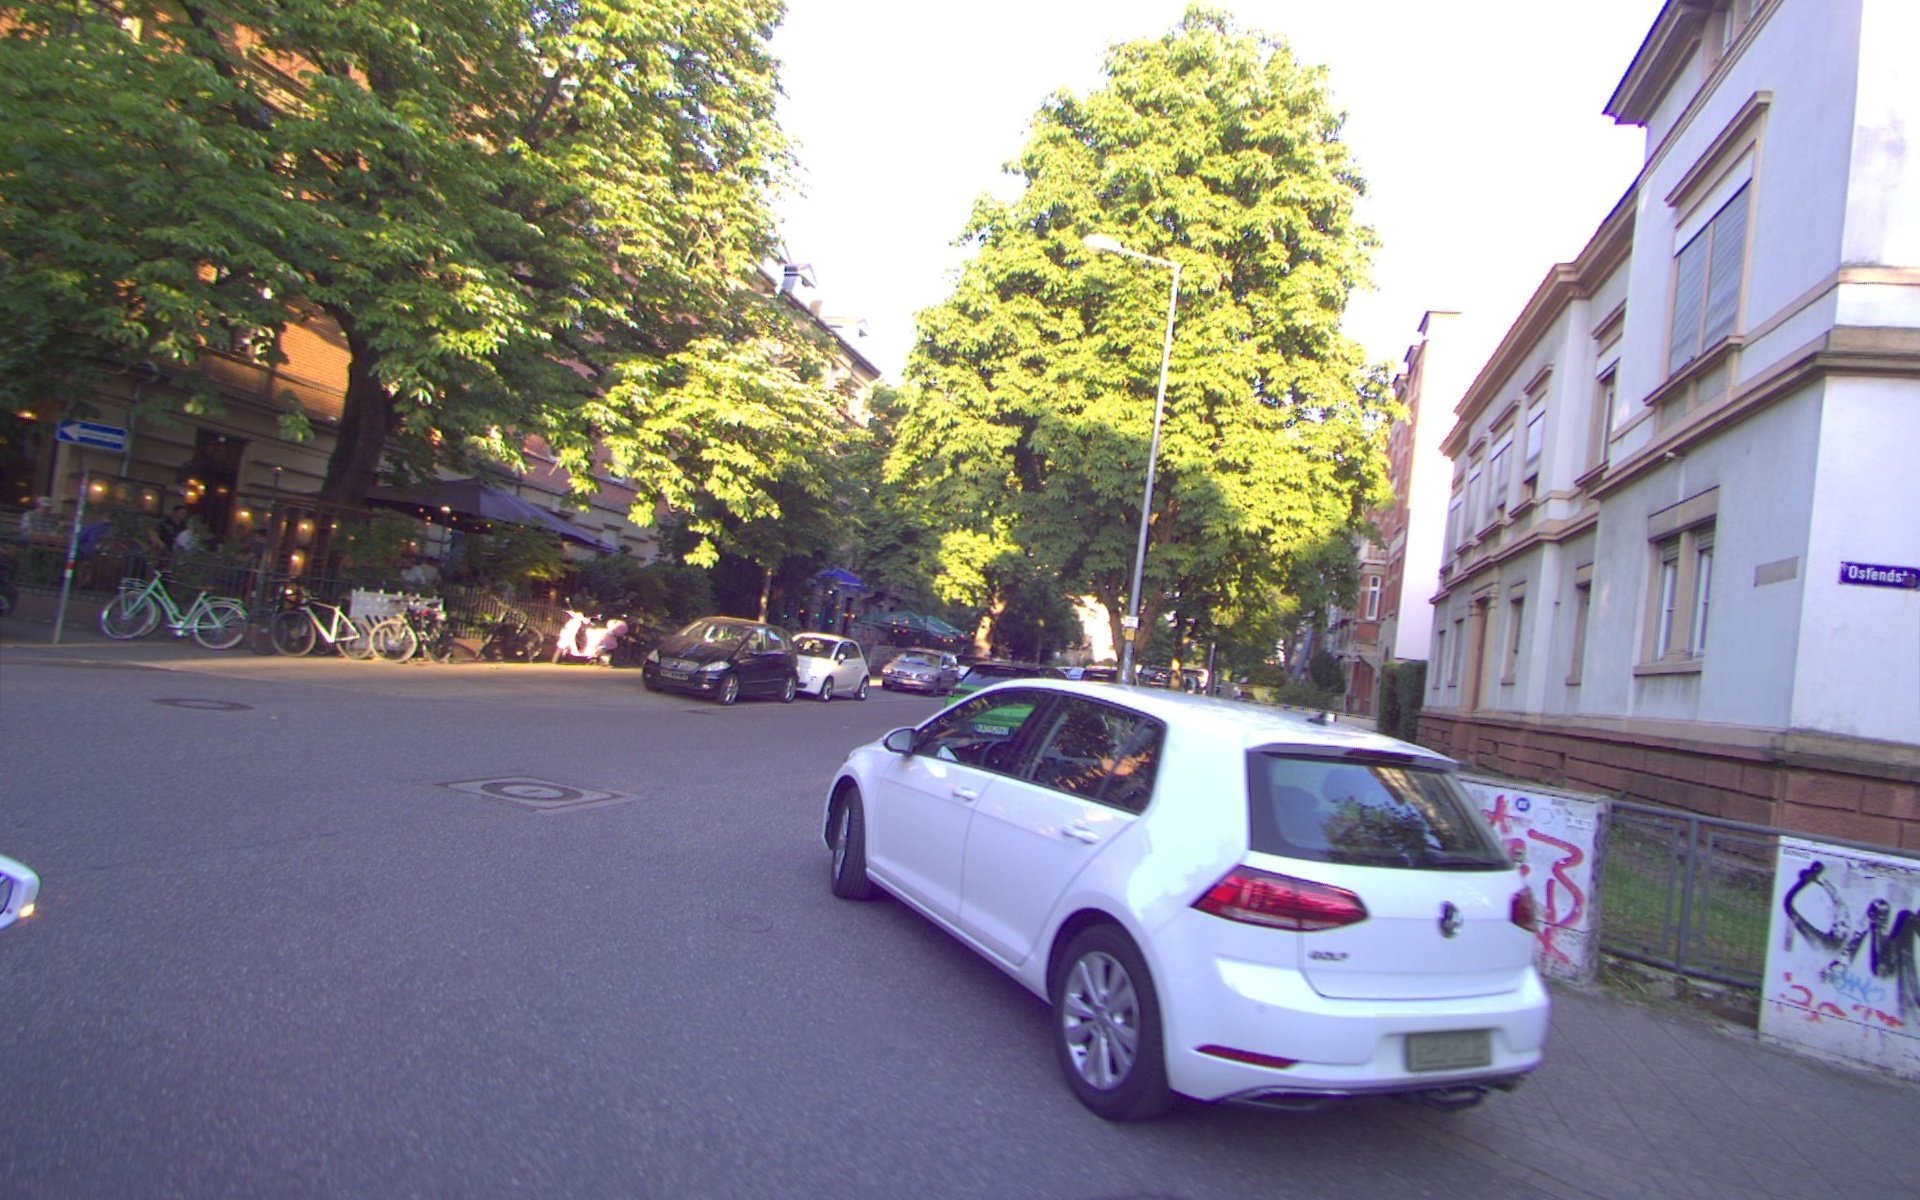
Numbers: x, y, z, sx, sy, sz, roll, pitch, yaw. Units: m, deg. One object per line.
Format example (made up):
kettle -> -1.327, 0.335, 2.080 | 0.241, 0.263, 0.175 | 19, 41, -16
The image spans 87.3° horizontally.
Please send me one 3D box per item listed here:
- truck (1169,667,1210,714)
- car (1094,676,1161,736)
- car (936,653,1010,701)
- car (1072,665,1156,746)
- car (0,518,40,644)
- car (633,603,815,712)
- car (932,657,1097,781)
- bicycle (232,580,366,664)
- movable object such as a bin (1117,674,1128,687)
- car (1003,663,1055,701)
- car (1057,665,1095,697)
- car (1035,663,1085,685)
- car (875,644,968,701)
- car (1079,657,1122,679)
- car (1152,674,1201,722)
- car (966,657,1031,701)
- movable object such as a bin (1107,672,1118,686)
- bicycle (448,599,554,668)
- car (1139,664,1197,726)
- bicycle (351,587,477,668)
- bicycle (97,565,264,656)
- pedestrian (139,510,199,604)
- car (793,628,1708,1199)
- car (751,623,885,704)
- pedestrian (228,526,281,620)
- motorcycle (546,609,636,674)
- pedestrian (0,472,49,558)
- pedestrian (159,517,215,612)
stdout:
truck -> 12.576, 4.923, 55.086 | 1.923, 2.272, 4.651 | 4, -3, 13
car -> 5.073, 3.118, 30.213 | 1.638, 1.517, 3.699 | 4, -3, 13
car -> 0.539, 2.946, 38.284 | 1.578, 1.451, 3.890 | 10, -2, 18
car -> 3.928, 2.577, 25.157 | 1.638, 1.697, 4.126 | 4, -3, 13
car -> -13.846, -0.478, 12.126 | 3.788, 1.563, 1.633 | 7, -1, -2
car -> -4.532, 1.179, 19.956 | 1.638, 1.696, 3.852 | 10, -2, 16
car -> 1.010, 1.816, 16.085 | 1.704, 1.574, 3.967 | 4, -3, 16
bicycle -> -10.177, 0.370, 15.557 | 0.385, 1.157, 1.747 | 5, -2, 21
movable object such as a bin -> 19.849, 9.832, 122.882 | 0.997, 1.336, 1.005 | 9, -1, 22
car -> 3.218, 3.778, 46.485 | 1.527, 1.502, 3.699 | 6, -3, 16
car -> 7.043, 4.889, 60.737 | 1.663, 1.581, 4.409 | 10, -2, 13
car -> 9.080, 6.743, 91.637 | 4.033, 1.464, 1.709 | 7, -1, 26
car -> -1.177, 2.384, 33.164 | 1.811, 1.427, 4.607 | 10, -2, 12
car -> 14.549, 7.041, 104.275 | 4.029, 1.544, 1.711 | 10, -1, 16
car -> 10.165, 4.531, 47.027 | 1.810, 1.964, 4.619 | 4, -3, 16
car -> 1.659, 3.338, 42.185 | 1.527, 1.502, 3.698 | 10, -2, 19
movable object such as a bin -> 18.647, 9.686, 123.093 | 1.080, 1.431, 1.006 | 9, -1, 4
bicycle -> -9.052, 0.692, 19.939 | 0.385, 1.156, 1.958 | 9, -2, 27
car -> 8.082, 3.619, 38.800 | 1.923, 2.082, 4.837 | 4, -3, 13
bicycle -> -9.292, 0.502, 17.222 | 0.385, 1.198, 1.959 | 10, -2, 21
bicycle -> -11.425, 0.162, 14.792 | 1.804, 1.111, 0.391 | 8, -1, -21
pedestrian -> -13.603, -0.720, 17.304 | 0.516, 1.538, 0.462 | 7, -1, -14
car -> 0.750, 1.116, 4.868 | 1.792, 1.517, 4.147 | 9, -3, -26
car -> -3.315, 1.557, 24.204 | 1.638, 1.509, 3.715 | 10, -2, 16
pedestrian -> -11.501, -0.437, 16.412 | 0.423, 1.468, 0.462 | 7, -1, -14
motorcycle -> -7.963, 0.925, 21.799 | 0.385, 1.199, 1.957 | 8, -2, 27
pedestrian -> -16.757, -1.504, 17.894 | 0.514, 1.429, 0.464 | 7, -1, 3
pedestrian -> -12.474, -0.558, 16.243 | 0.423, 1.468, 0.462 | 7, -1, -14
